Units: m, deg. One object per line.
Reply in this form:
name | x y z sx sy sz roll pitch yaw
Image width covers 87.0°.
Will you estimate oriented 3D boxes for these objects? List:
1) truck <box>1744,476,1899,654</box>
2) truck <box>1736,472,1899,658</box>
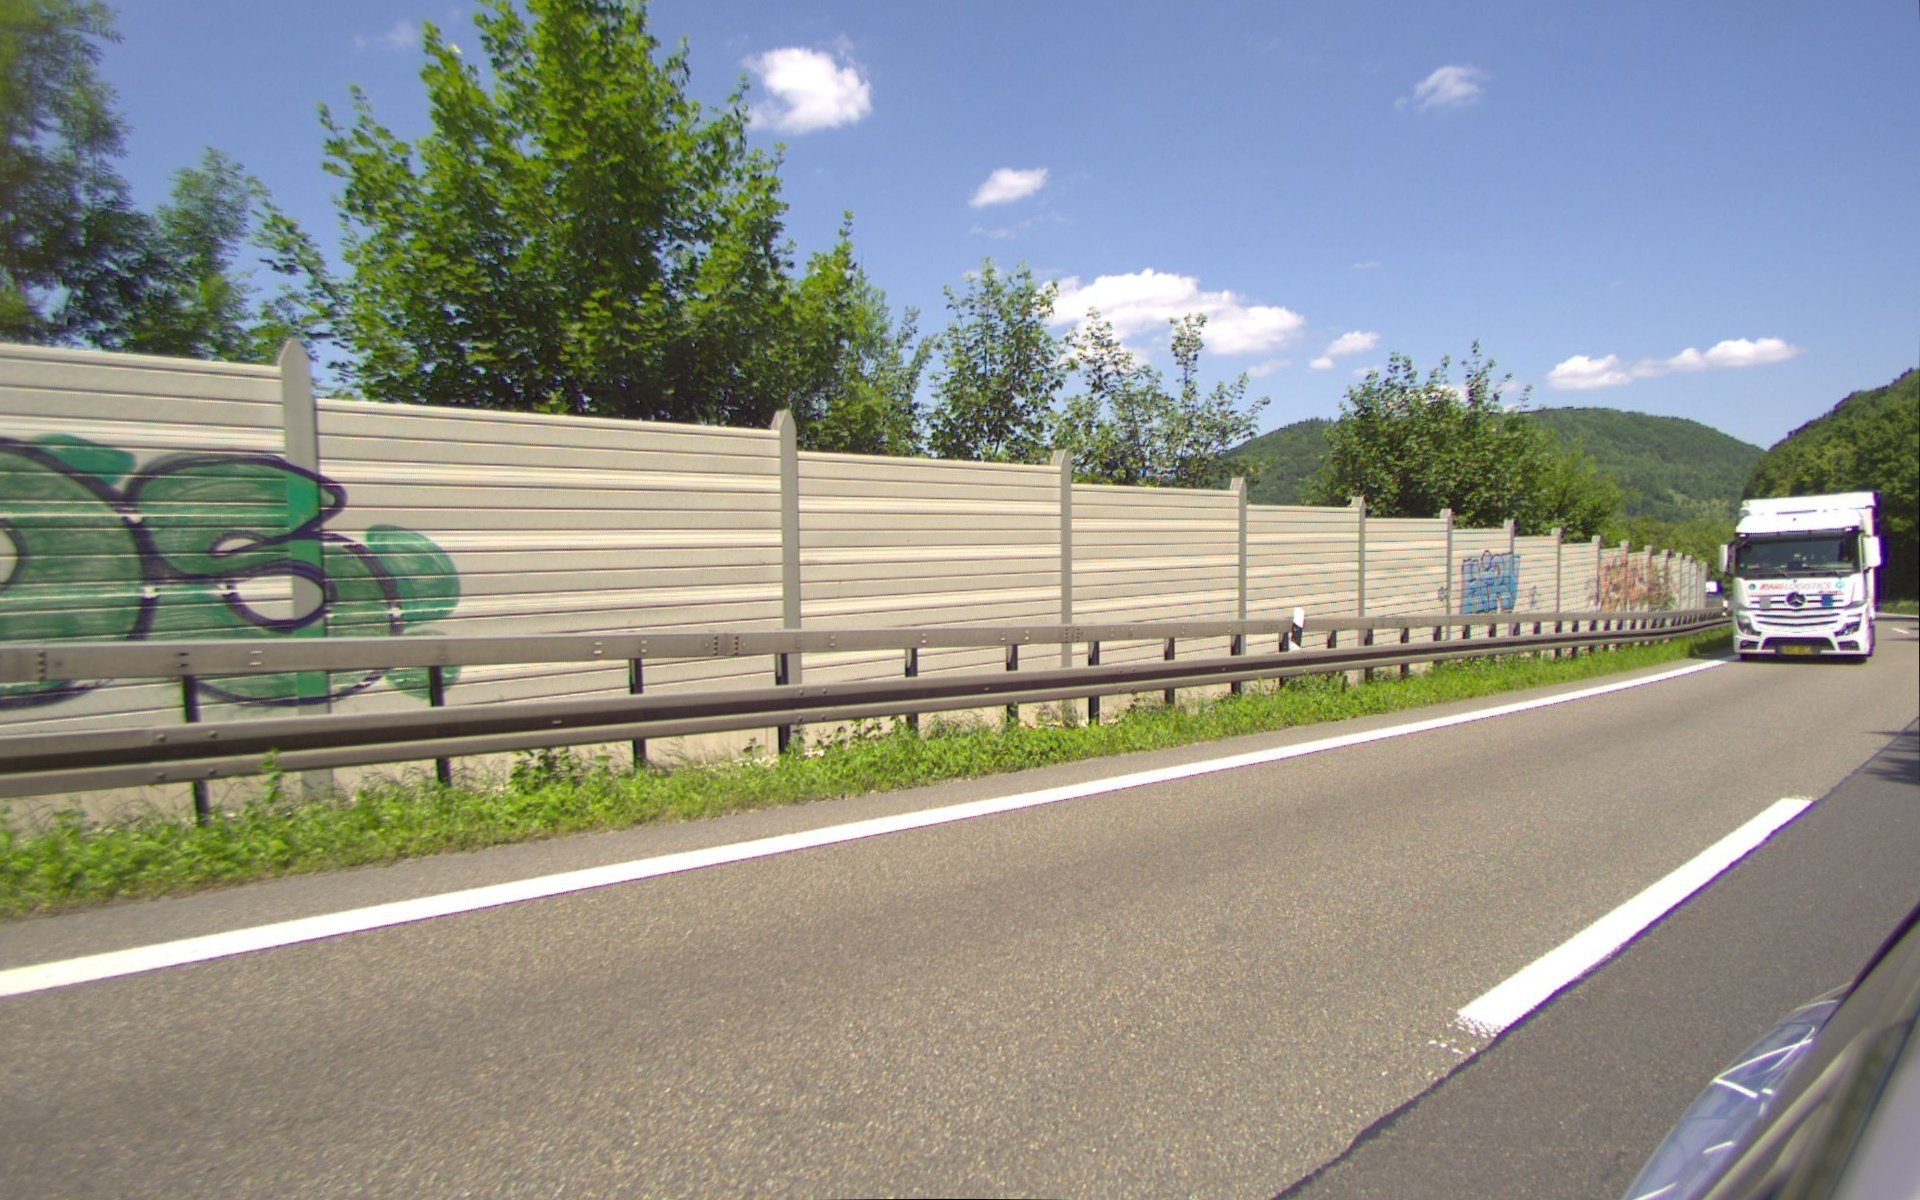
truck | 25.117 -0.894 29.248 2.853 4.200 11.861 -1 0 43
truck | 21.837 -0.802 25.720 2.755 4.090 6.720 -2 -1 42
